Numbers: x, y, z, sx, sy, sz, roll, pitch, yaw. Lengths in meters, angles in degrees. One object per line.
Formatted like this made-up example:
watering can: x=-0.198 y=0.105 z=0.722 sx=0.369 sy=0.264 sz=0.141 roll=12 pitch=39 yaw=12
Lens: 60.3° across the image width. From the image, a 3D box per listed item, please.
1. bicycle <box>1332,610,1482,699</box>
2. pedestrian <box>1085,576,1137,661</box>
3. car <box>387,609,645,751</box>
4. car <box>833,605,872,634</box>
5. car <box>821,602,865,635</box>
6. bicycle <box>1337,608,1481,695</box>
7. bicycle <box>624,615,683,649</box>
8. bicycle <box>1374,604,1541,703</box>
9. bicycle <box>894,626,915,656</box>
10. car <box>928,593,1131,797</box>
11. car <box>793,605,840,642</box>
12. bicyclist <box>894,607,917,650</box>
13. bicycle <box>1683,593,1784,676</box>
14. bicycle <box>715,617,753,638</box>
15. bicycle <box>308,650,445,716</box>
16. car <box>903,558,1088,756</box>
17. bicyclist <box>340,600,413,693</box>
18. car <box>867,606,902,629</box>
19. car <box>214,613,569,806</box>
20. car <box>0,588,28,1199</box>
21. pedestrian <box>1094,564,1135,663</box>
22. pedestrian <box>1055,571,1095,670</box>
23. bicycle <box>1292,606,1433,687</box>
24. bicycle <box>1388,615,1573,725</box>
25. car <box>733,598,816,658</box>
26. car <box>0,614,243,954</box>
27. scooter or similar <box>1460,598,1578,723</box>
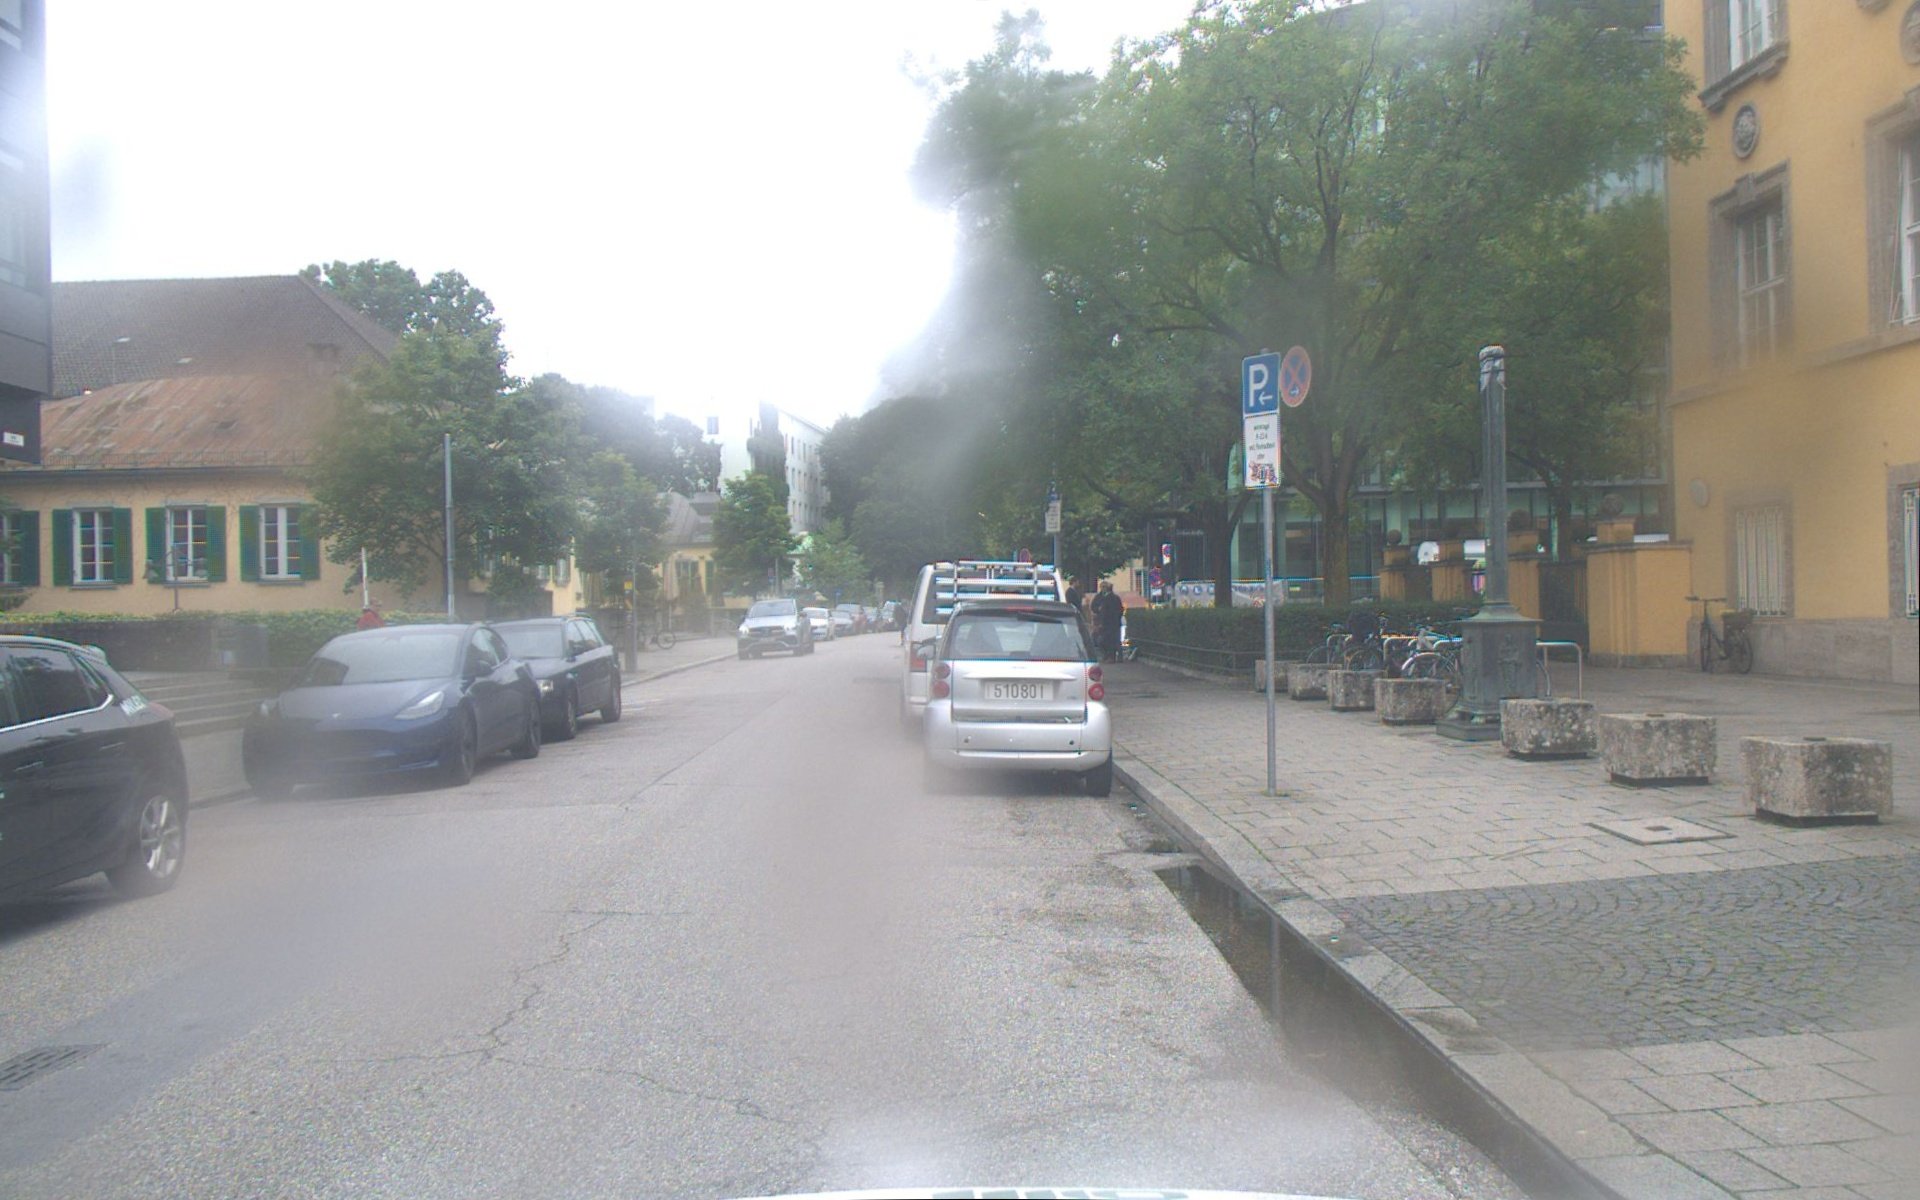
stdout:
bicycle: x=6.132 y=0.738 z=22.734 sx=1.892 sy=1.133 sz=0.471 roll=-2 pitch=0 yaw=0
pedestrian: x=3.501 y=0.422 z=38.333 sx=0.729 sy=1.941 sz=1.052 roll=-2 pitch=-1 yaw=34
car: x=-5.500 y=0.924 z=21.201 sx=1.953 sy=1.517 sz=4.882 roll=-3 pitch=0 yaw=0
car: x=-6.140 y=1.133 z=94.799 sx=1.953 sy=1.631 sz=3.999 roll=-1 pitch=-1 yaw=0
car: x=-6.310 y=0.980 z=89.713 sx=1.952 sy=1.677 sz=4.656 roll=-1 pitch=0 yaw=1
bicycle: x=6.375 y=0.726 z=23.532 sx=1.892 sy=1.133 sz=0.471 roll=-2 pitch=0 yaw=0
bicycle: x=-10.678 y=1.108 z=57.607 sx=1.890 sy=1.118 sz=0.615 roll=1 pitch=0 yaw=1
bicycle: x=6.127 y=0.655 z=20.413 sx=1.892 sy=1.133 sz=0.471 roll=-2 pitch=0 yaw=0
bicycle: x=-1.842 y=1.358 z=55.300 sx=0.613 sy=0.971 sz=1.860 roll=2 pitch=-1 yaw=0
car: x=0.520 y=0.747 z=14.456 sx=1.573 sy=1.573 sz=2.933 roll=1 pitch=0 yaw=-1
car: x=-6.665 y=1.065 z=77.113 sx=1.698 sy=1.609 sz=3.788 roll=2 pitch=0 yaw=2
bicyclist: x=-1.821 y=0.956 z=55.297 sx=0.690 sy=1.418 sz=0.868 roll=2 pitch=-1 yaw=0
bicycle: x=11.632 y=0.497 z=24.927 sx=0.531 sy=1.174 sz=1.901 roll=-2 pitch=0 yaw=-2
bicycle: x=-10.463 y=1.262 z=76.602 sx=1.594 sy=0.942 sz=0.646 roll=-1 pitch=-2 yaw=-26
bicycle: x=-9.802 y=1.386 z=27.816 sx=2.109 sy=1.022 sz=0.618 roll=0 pitch=-2 yaw=-28
car: x=0.276 y=0.590 z=19.552 sx=1.808 sy=1.967 sz=5.270 roll=2 pitch=0 yaw=-2
bicyclist: x=-9.823 y=0.778 z=27.828 sx=1.078 sy=1.524 sz=0.668 roll=0 pitch=-2 yaw=-28
car: x=-5.141 y=1.171 z=112.676 sx=1.952 sy=1.512 sz=4.002 roll=-1 pitch=0 yaw=3
car: x=-5.211 y=0.917 z=15.947 sx=1.885 sy=1.464 sz=4.915 roll=-3 pitch=-1 yaw=-3
car: x=-2.630 y=0.615 z=0.524 sx=1.921 sy=1.711 sz=4.910 roll=-3 pitch=0 yaw=-1
pedestrian: x=3.476 y=0.297 z=37.172 sx=0.727 sy=2.172 sz=1.055 roll=-2 pitch=0 yaw=-2
pedestrian: x=2.591 y=0.452 z=37.338 sx=0.727 sy=2.172 sz=1.055 roll=-2 pitch=0 yaw=-2
bicycle: x=6.083 y=0.698 z=25.013 sx=1.992 sy=1.133 sz=0.471 roll=-2 pitch=0 yaw=-5
bicycle: x=5.801 y=0.771 z=18.462 sx=1.894 sy=1.133 sz=0.471 roll=-2 pitch=0 yaw=-5
car: x=-5.680 y=0.828 z=51.153 sx=1.983 sy=1.719 sz=4.677 roll=-2 pitch=0 yaw=0
car: x=-5.126 y=0.870 z=7.650 sx=1.704 sy=1.486 sz=4.236 roll=-3 pitch=0 yaw=0
scooter or similar: x=5.794 y=0.618 z=17.171 sx=0.995 sy=1.243 sz=0.534 roll=-2 pitch=0 yaw=44
